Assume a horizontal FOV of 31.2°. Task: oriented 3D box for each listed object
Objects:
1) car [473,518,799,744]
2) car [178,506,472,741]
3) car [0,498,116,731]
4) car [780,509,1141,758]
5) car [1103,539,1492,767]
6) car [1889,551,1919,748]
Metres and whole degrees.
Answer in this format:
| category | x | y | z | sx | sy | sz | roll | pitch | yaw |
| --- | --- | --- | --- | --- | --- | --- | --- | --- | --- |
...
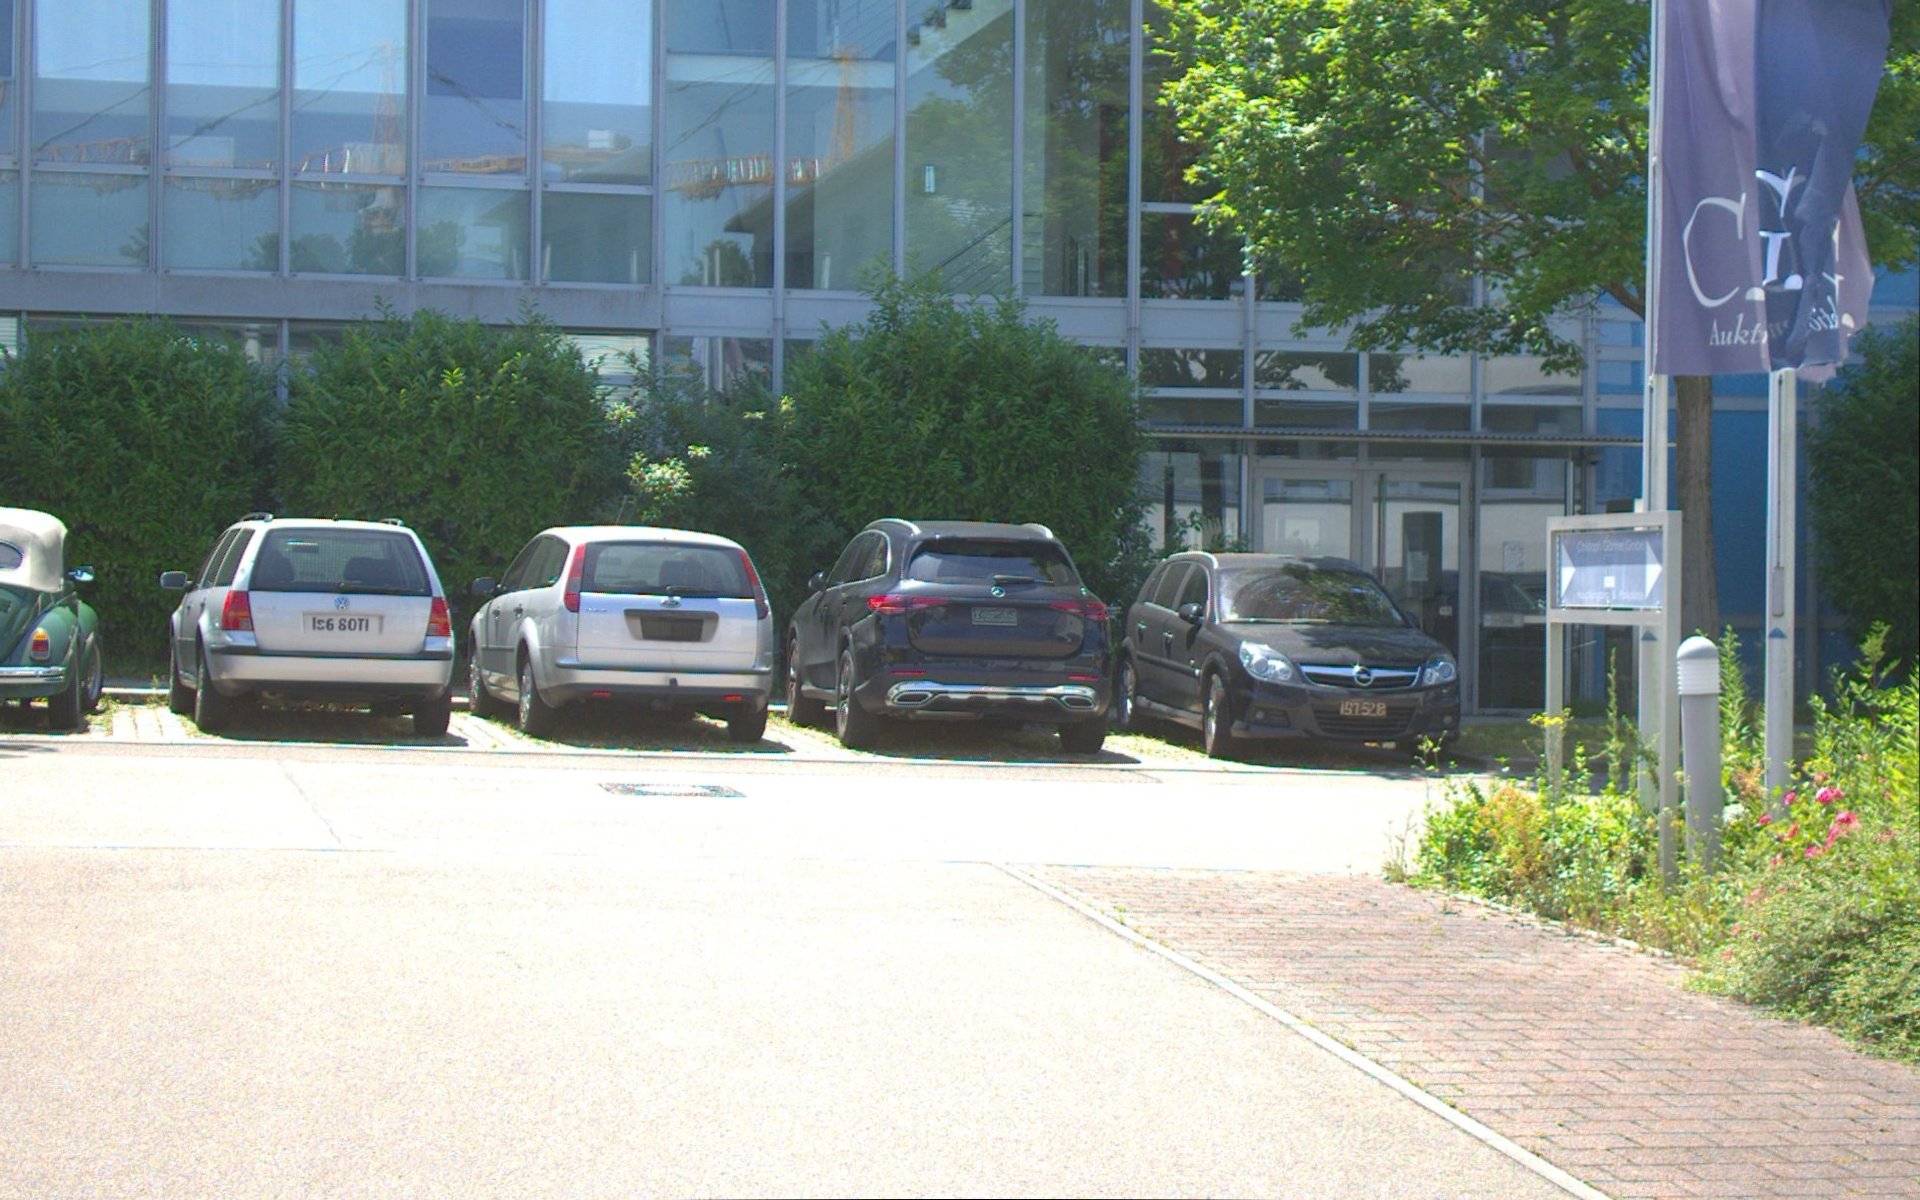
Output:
| category | x | y | z | sx | sy | sz | roll | pitch | yaw |
| --- | --- | --- | --- | --- | --- | --- | --- | --- | --- |
| car | -2.458 | 0.179 | 25.300 | 1.764 | 1.444 | 3.655 | 2 | 1 | -15 |
| car | -4.562 | 0.115 | 24.338 | 1.731 | 1.444 | 3.655 | 2 | 1 | -15 |
| car | -6.728 | 0.029 | 23.684 | 1.541 | 1.444 | 3.655 | 2 | 1 | -11 |
| car | -0.088 | 0.186 | 25.567 | 1.926 | 1.605 | 3.988 | 2 | 1 | -10 |
| car | 2.433 | 0.337 | 25.899 | 1.769 | 1.477 | 4.260 | 1 | 2 | -10 |
| car | 9.122 | 0.485 | 26.927 | 1.819 | 1.614 | 4.341 | 1 | 2 | -10 |
